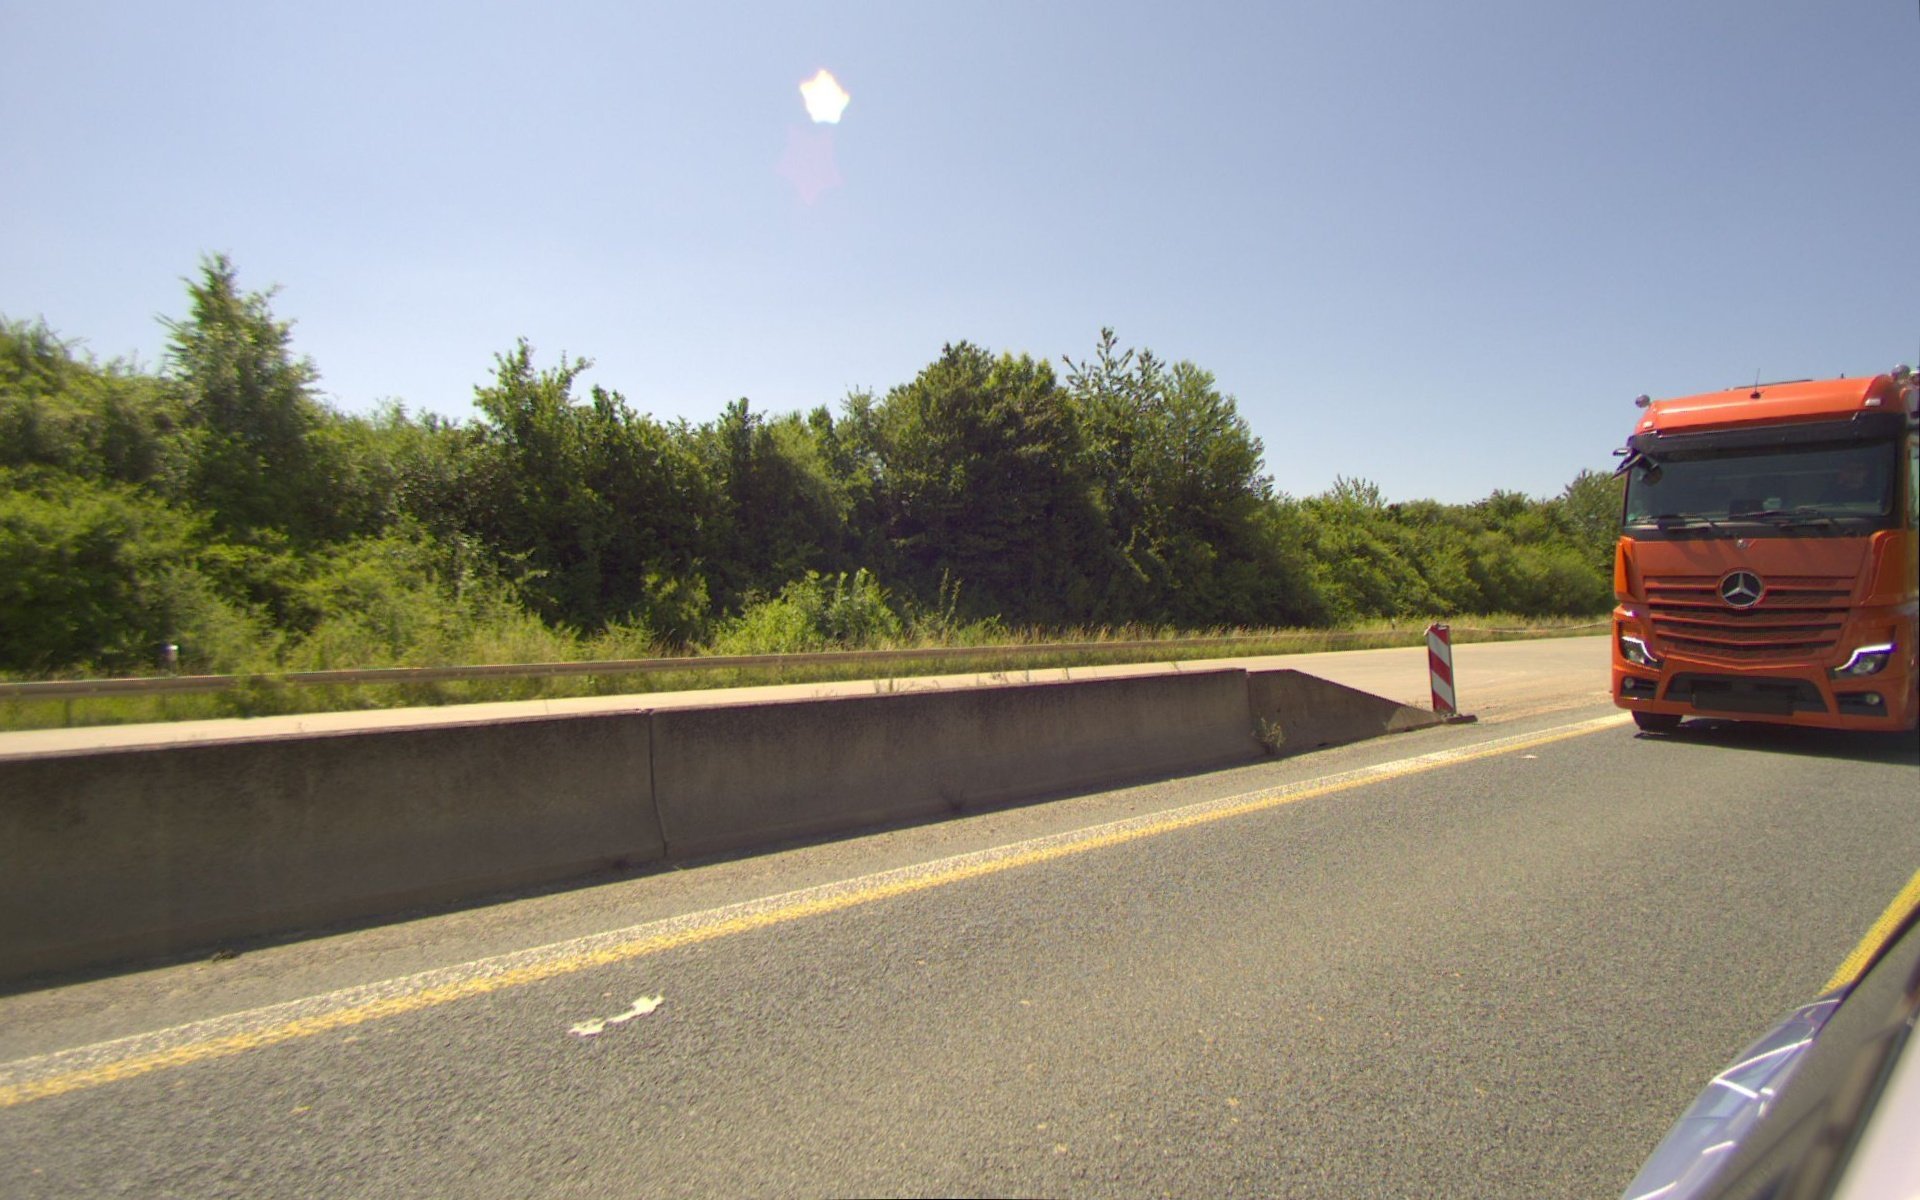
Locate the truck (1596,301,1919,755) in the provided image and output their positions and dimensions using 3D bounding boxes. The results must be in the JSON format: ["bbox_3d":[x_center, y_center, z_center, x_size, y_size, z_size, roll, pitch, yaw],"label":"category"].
[{"bbox_3d":[10.308,-0.671,12.151,6.607,4.061,2.687,0,0,-40],"label":"truck"}]

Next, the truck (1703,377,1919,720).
[{"bbox_3d":[15.781,-0.681,16.838,12.987,4.060,2.687,-1,0,-41],"label":"truck"}]
